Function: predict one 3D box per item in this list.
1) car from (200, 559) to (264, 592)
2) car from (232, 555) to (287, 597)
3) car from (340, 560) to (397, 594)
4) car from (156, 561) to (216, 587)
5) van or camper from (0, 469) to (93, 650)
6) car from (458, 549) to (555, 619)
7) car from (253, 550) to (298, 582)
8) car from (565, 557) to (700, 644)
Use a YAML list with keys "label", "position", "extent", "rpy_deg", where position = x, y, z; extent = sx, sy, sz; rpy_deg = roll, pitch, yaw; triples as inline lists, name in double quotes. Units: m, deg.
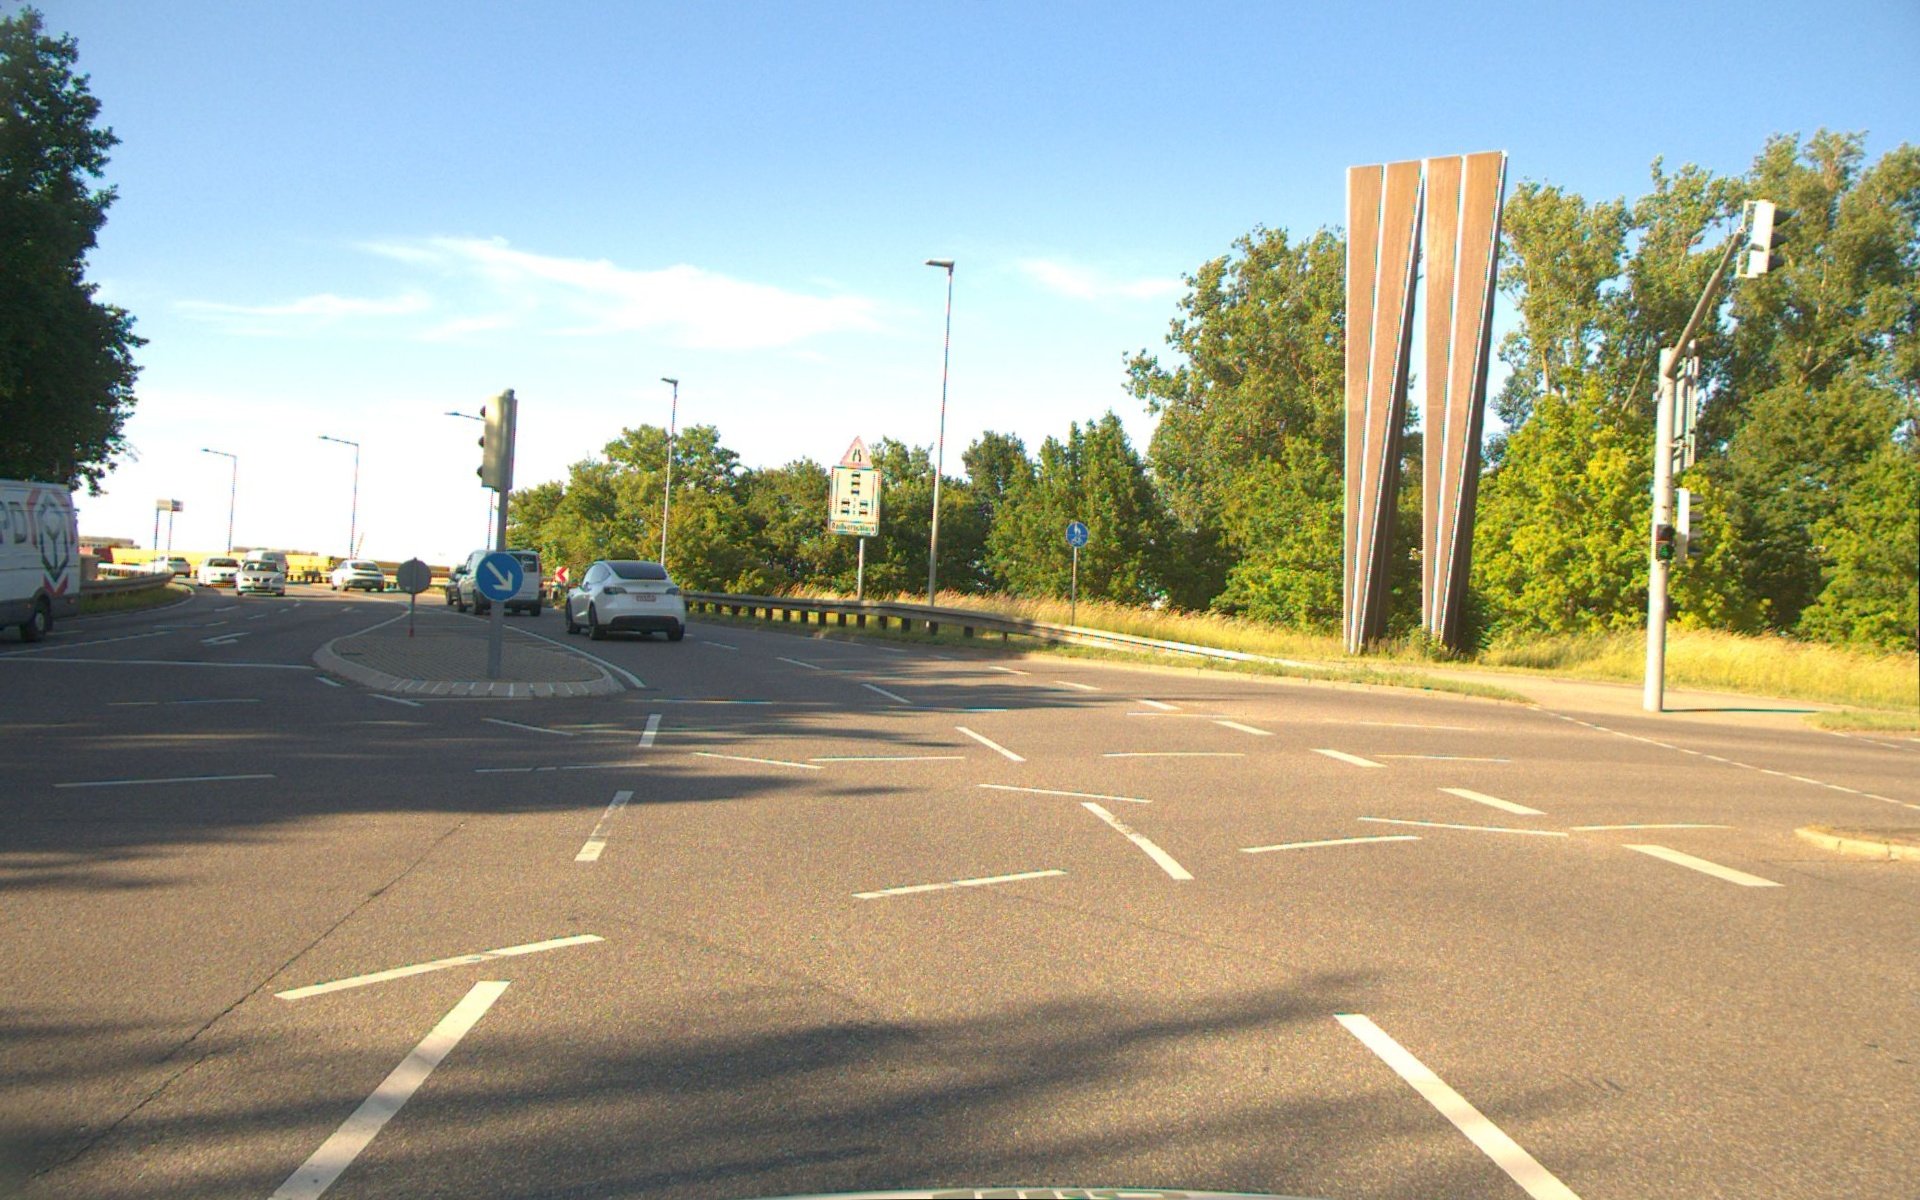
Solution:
- label: "car"
  position: [-35.084, -1.190, 79.633]
  extent: [2.077, 1.415, 4.359]
  rpy_deg: [3, 1, -34]
- label: "car"
  position: [-27.723, -0.955, 65.390]
  extent: [1.845, 1.500, 3.879]
  rpy_deg: [3, 0, -25]
- label: "car"
  position: [-28.738, -1.137, 80.294]
  extent: [1.947, 1.500, 4.115]
  rpy_deg: [3, 0, -29]
- label: "car"
  position: [-51.306, -1.717, 109.636]
  extent: [3.932, 1.534, 2.258]
  rpy_deg: [2, -1, 43]
- label: "van or camper"
  position: [-15.562, -0.627, 25.411]
  extent: [2.013, 2.720, 6.915]
  rpy_deg: [1, 0, -11]
- label: "car"
  position: [-13.504, -0.485, 49.067]
  extent: [1.969, 1.912, 4.213]
  rpy_deg: [3, 0, -26]
- label: "car"
  position: [-40.270, -1.985, 97.225]
  extent: [1.948, 1.728, 3.961]
  rpy_deg: [3, 0, -30]
- label: "car"
  position: [-7.046, -0.020, 35.321]
  extent: [1.967, 1.668, 4.098]
  rpy_deg: [3, 0, -23]
